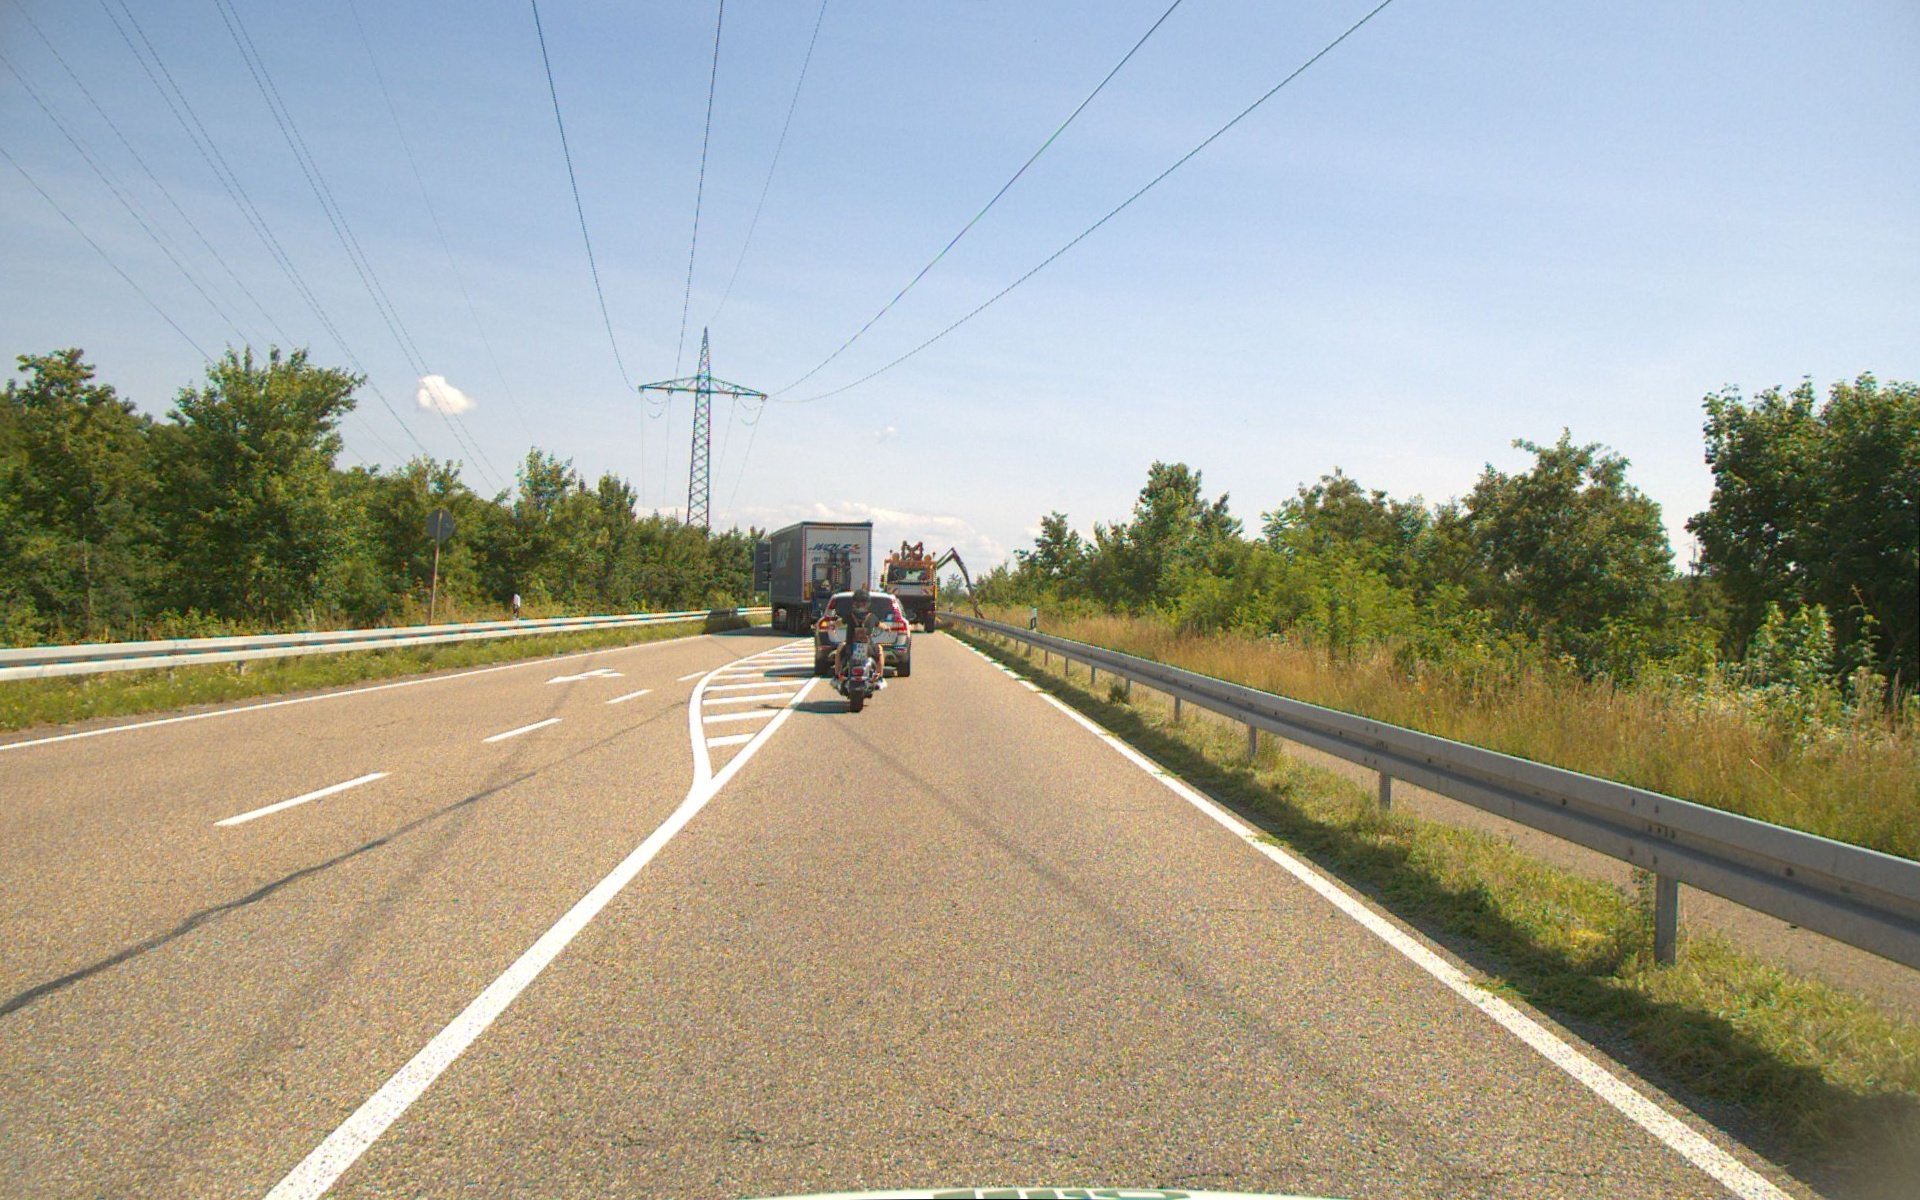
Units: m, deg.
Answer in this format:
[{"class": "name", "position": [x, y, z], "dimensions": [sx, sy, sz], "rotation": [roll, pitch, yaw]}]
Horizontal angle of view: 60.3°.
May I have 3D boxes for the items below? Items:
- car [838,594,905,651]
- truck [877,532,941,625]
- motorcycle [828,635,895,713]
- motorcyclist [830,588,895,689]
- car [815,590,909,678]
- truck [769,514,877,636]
[{"class": "car", "position": [-2.537, 0.616, 47.634], "dimensions": [1.818, 1.516, 3.738], "rotation": [1, 0, -3]}, {"class": "truck", "position": [-2.302, -0.898, 72.013], "dimensions": [2.562, 3.776, 6.773], "rotation": [1, 0, -3]}, {"class": "motorcycle", "position": [-1.321, 0.957, 22.063], "dimensions": [0.842, 0.931, 2.226], "rotation": [0, 0, -4]}, {"class": "motorcyclist", "position": [-1.305, 0.500, 22.086], "dimensions": [0.820, 1.303, 0.918], "rotation": [1, 0, -4]}, {"class": "car", "position": [-1.877, 0.604, 31.578], "dimensions": [1.667, 1.563, 3.496], "rotation": [1, 0, -4]}, {"class": "truck", "position": [-5.711, -0.926, 66.286], "dimensions": [2.914, 4.260, 14.786], "rotation": [1, 0, -10]}]
